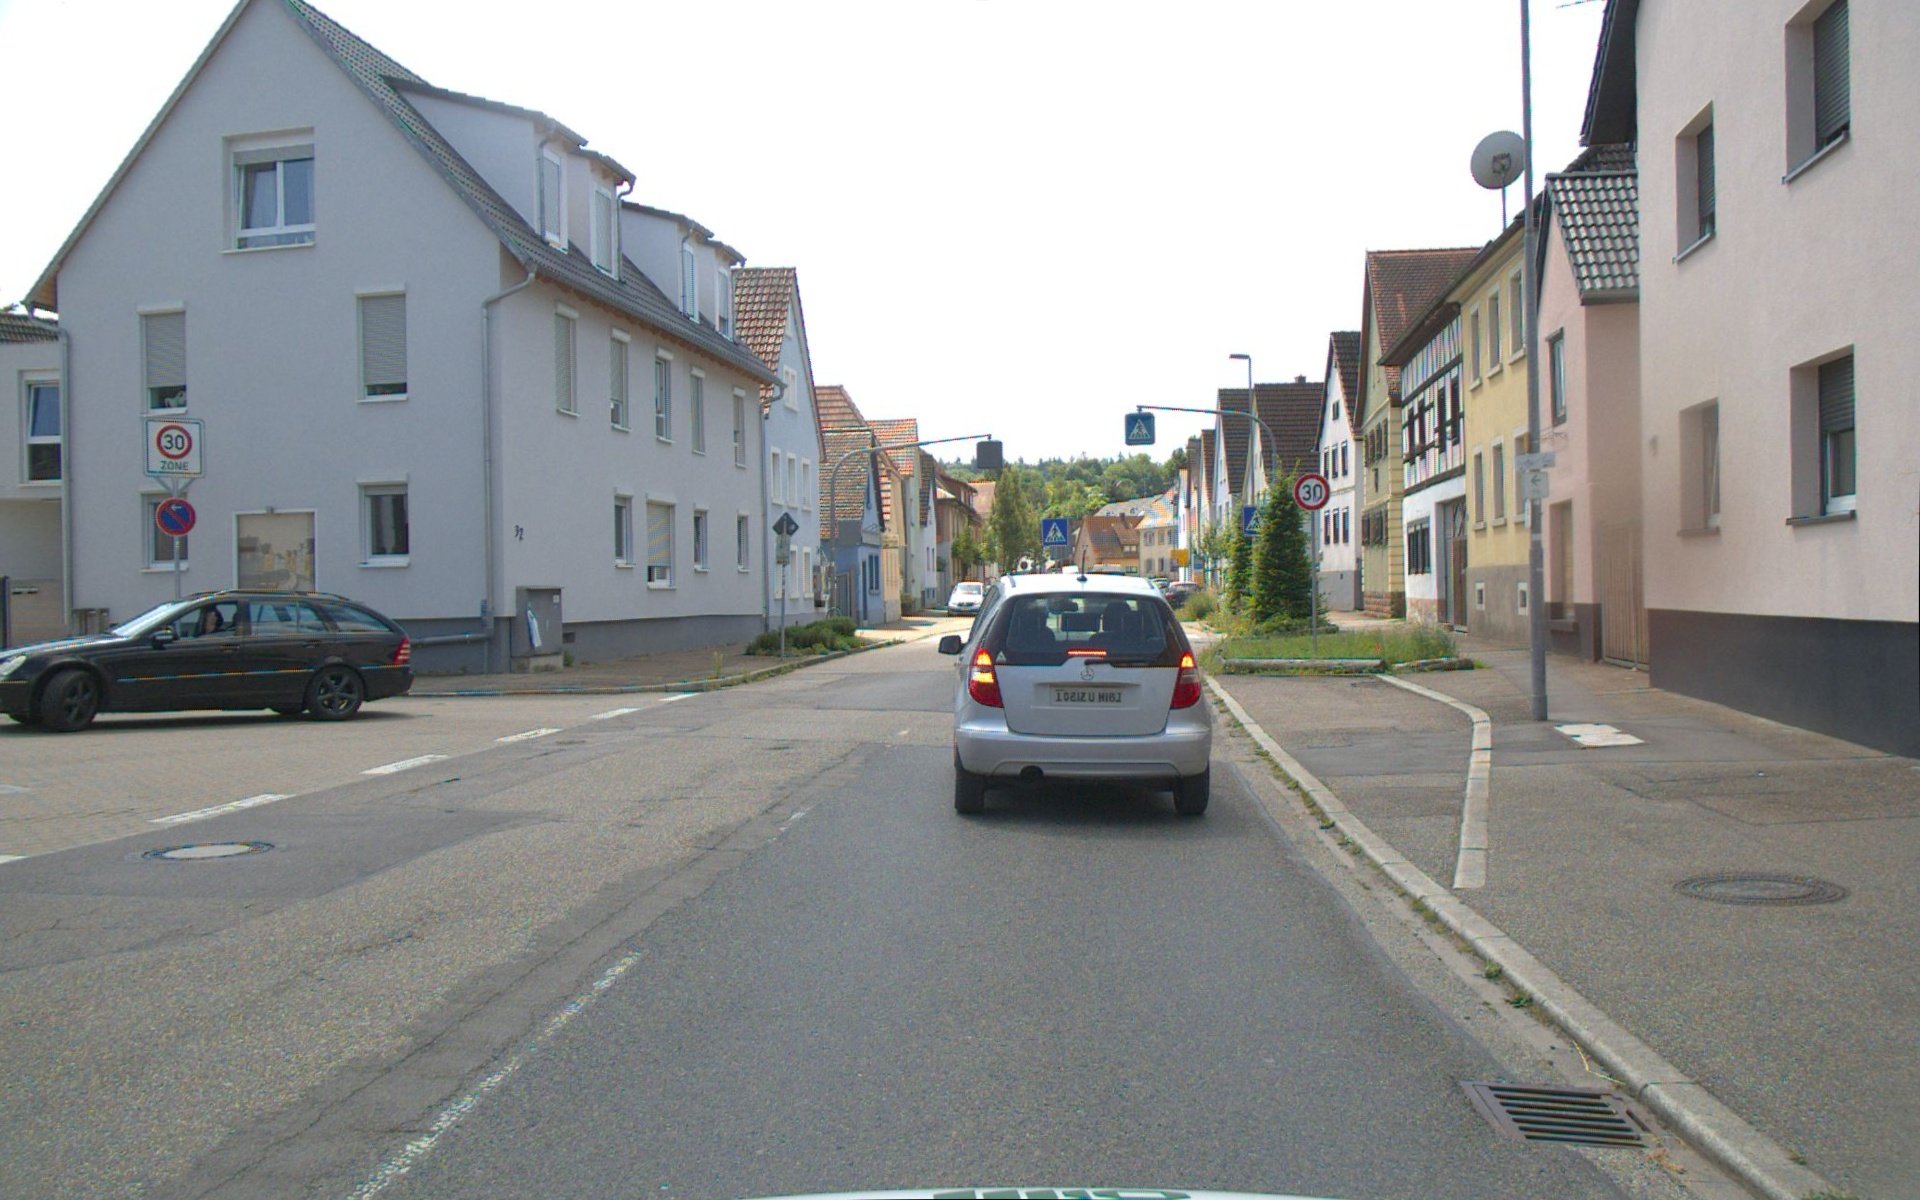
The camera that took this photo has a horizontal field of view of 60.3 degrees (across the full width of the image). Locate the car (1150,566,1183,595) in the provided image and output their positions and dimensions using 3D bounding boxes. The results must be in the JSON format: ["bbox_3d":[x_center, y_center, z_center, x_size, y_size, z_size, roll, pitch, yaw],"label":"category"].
[{"bbox_3d":[13.930,-1.300,111.560,1.952,1.848,4.001,0,-1,3],"label":"car"}]

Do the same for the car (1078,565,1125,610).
[{"bbox_3d":[6.176,-0.539,72.689,1.952,1.848,4.001,0,-1,3],"label":"car"}]

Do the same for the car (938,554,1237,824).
[{"bbox_3d":[0.786,0.562,12.315,1.774,1.672,3.727,1,0,-2],"label":"car"}]

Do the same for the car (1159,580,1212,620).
[{"bbox_3d":[9.263,0.017,68.191,1.951,1.534,4.002,0,-1,5],"label":"car"}]

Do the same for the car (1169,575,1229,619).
[{"bbox_3d":[8.849,-0.086,61.487,1.951,1.534,4.002,0,-1,5],"label":"car"}]

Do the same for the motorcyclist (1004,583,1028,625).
[{"bbox_3d":[2.153,0.151,63.648,0.877,1.582,0.807,0,1,4],"label":"motorcyclist"}]

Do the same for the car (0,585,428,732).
[{"bbox_3d":[-8.397,0.610,18.102,4.589,1.436,1.789,1,-2,-38],"label":"car"}]

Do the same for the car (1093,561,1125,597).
[{"bbox_3d":[9.234,-1.282,102.883,1.951,2.049,4.002,0,-1,4],"label":"car"}]

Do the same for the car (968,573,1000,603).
[{"bbox_3d":[1.422,-0.697,98.083,1.632,1.624,4.002,0,-1,5],"label":"car"}]

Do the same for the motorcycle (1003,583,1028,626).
[{"bbox_3d":[2.149,0.164,63.683,0.862,1.588,1.968,0,1,4],"label":"motorcycle"}]

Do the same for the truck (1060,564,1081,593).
[{"bbox_3d":[10.676,-2.042,159.562,1.952,2.581,6.742,0,-1,4],"label":"truck"}]

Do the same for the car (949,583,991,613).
[{"bbox_3d":[0.469,-0.090,79.477,1.953,1.344,3.708,0,-1,-1],"label":"car"}]
